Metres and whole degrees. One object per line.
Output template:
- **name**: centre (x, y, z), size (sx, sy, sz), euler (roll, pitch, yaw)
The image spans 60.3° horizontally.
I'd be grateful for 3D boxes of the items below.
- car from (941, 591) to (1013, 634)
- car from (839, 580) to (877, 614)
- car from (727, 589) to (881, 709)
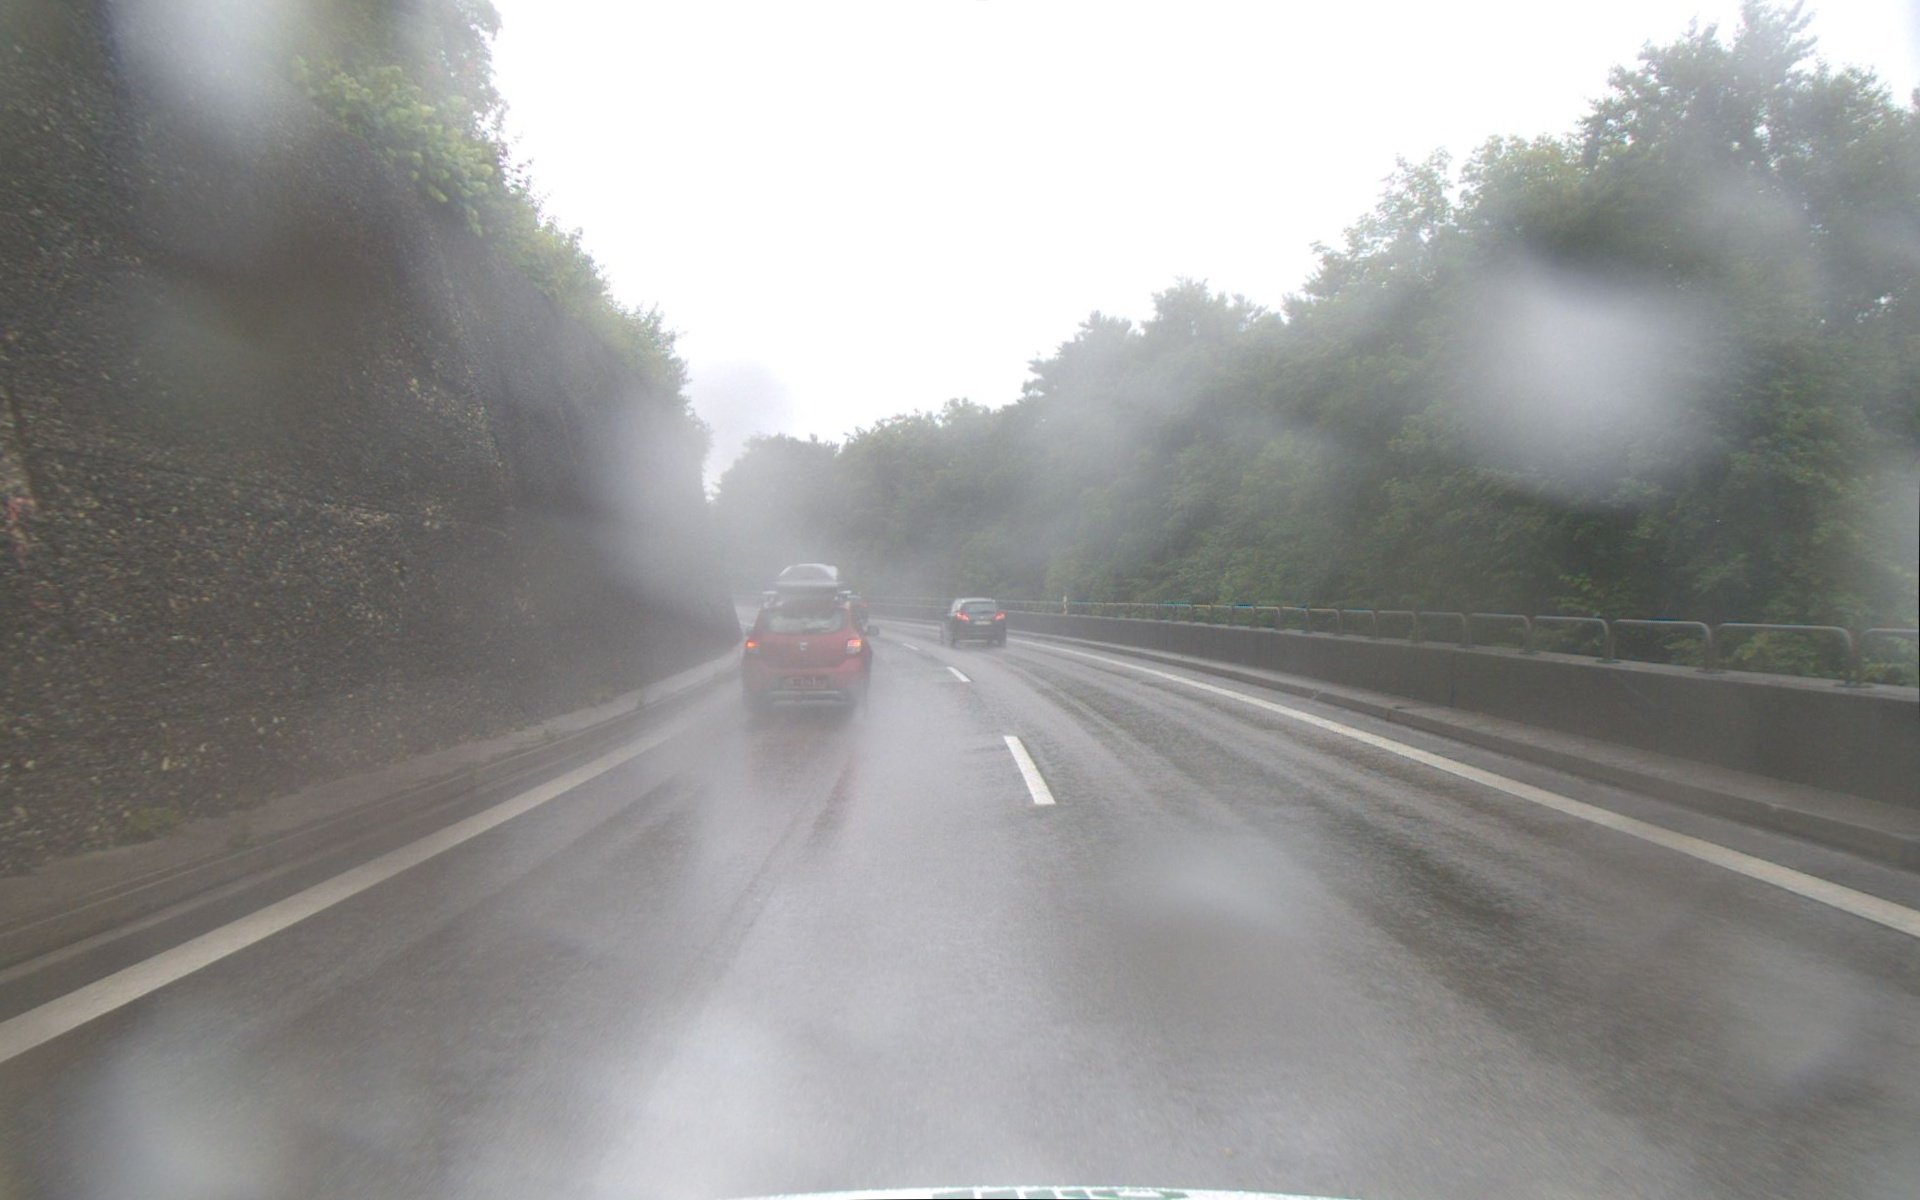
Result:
- **car**: centre (0.505, 0.385, 52.937), size (1.767, 1.330, 3.993), euler (0, 0, -8)
- **car**: centre (-5.484, -0.126, 88.448), size (1.954, 1.780, 3.996), euler (1, -1, -4)
- **car**: centre (-2.143, 0.640, 23.689), size (1.953, 1.579, 3.998), euler (0, 0, -2)
